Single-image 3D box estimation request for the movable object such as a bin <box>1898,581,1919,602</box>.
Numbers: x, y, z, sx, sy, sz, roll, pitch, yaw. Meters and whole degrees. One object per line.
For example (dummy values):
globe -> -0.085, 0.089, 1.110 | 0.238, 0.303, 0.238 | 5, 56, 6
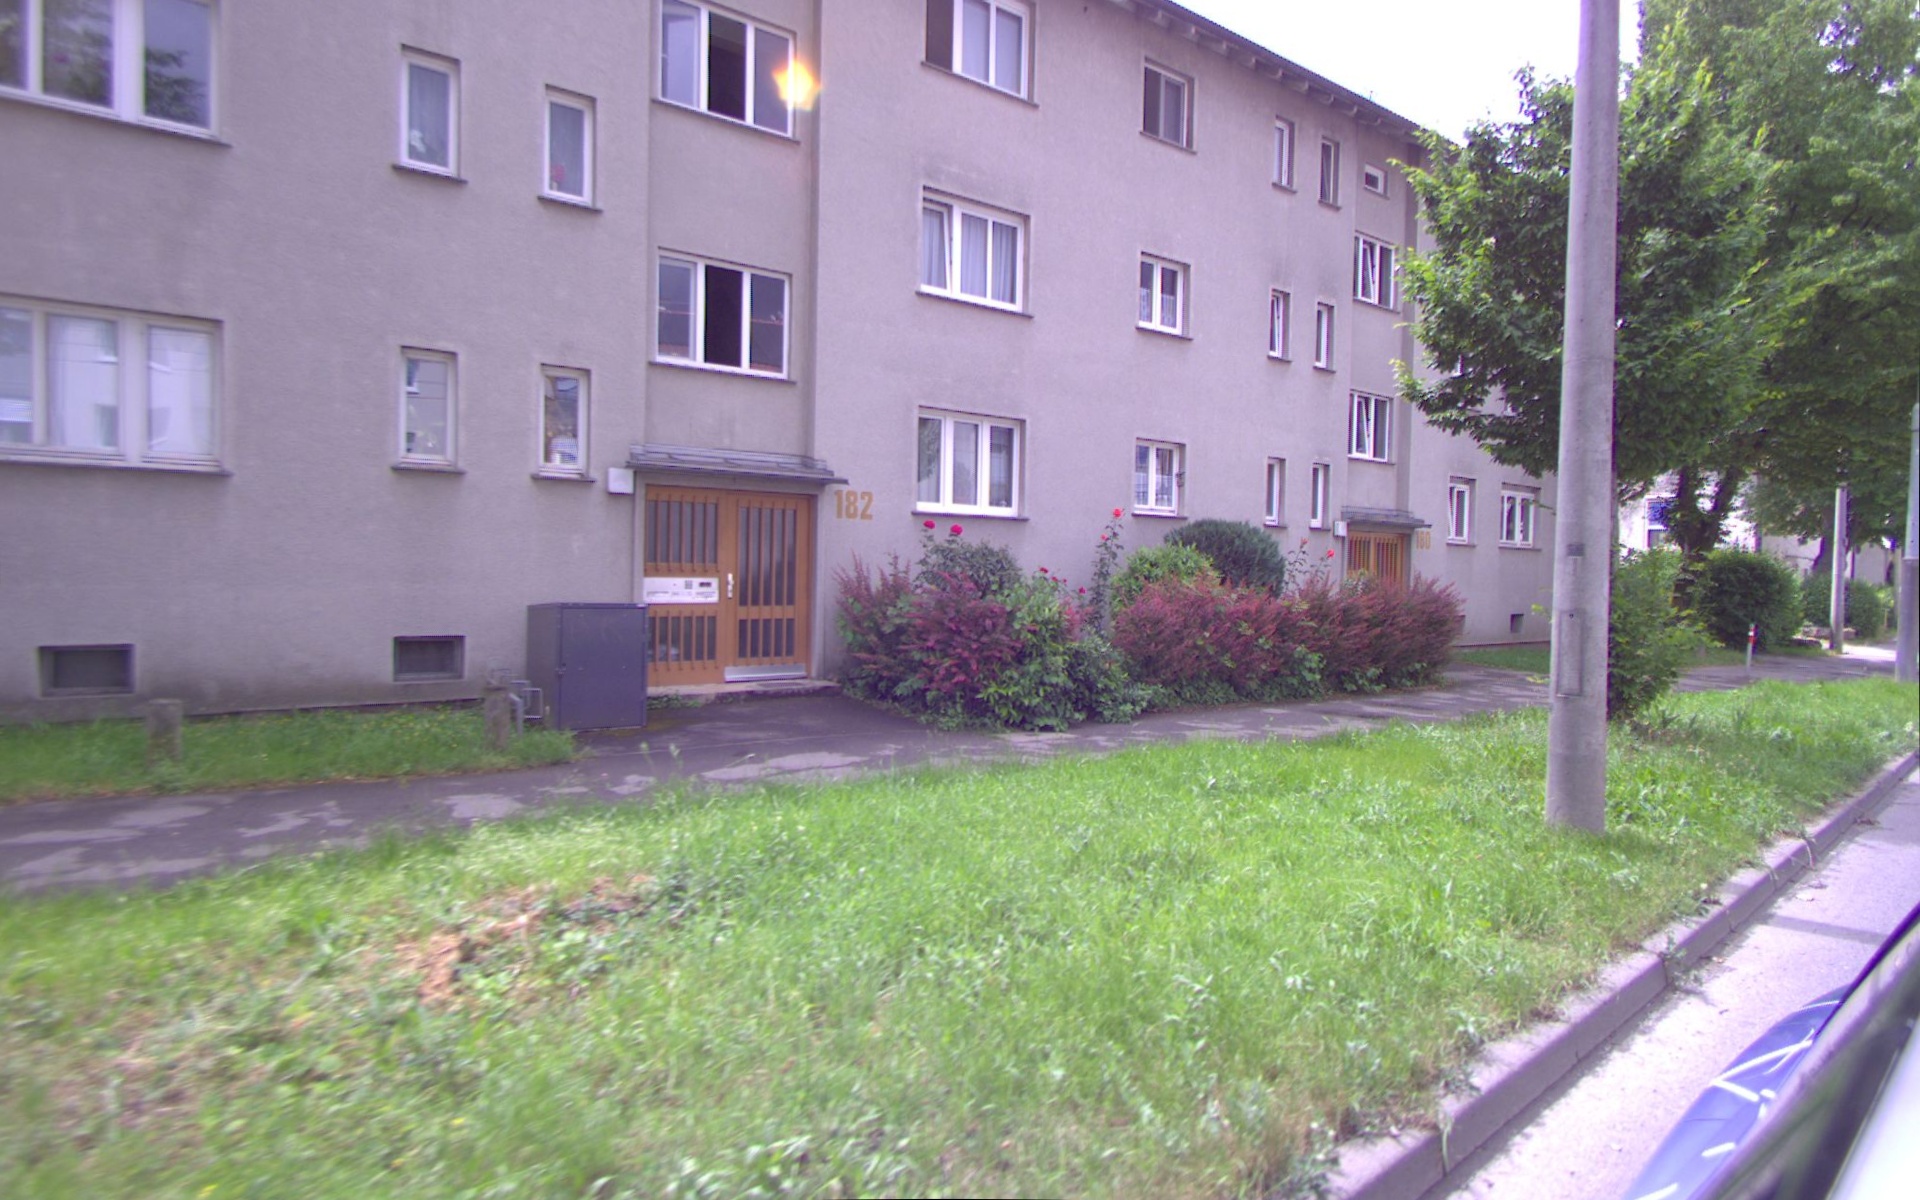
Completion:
movable object such as a bin -> 92.628, -0.796, 97.256 | 1.960, 2.038, 2.972 | 1, 2, -6
